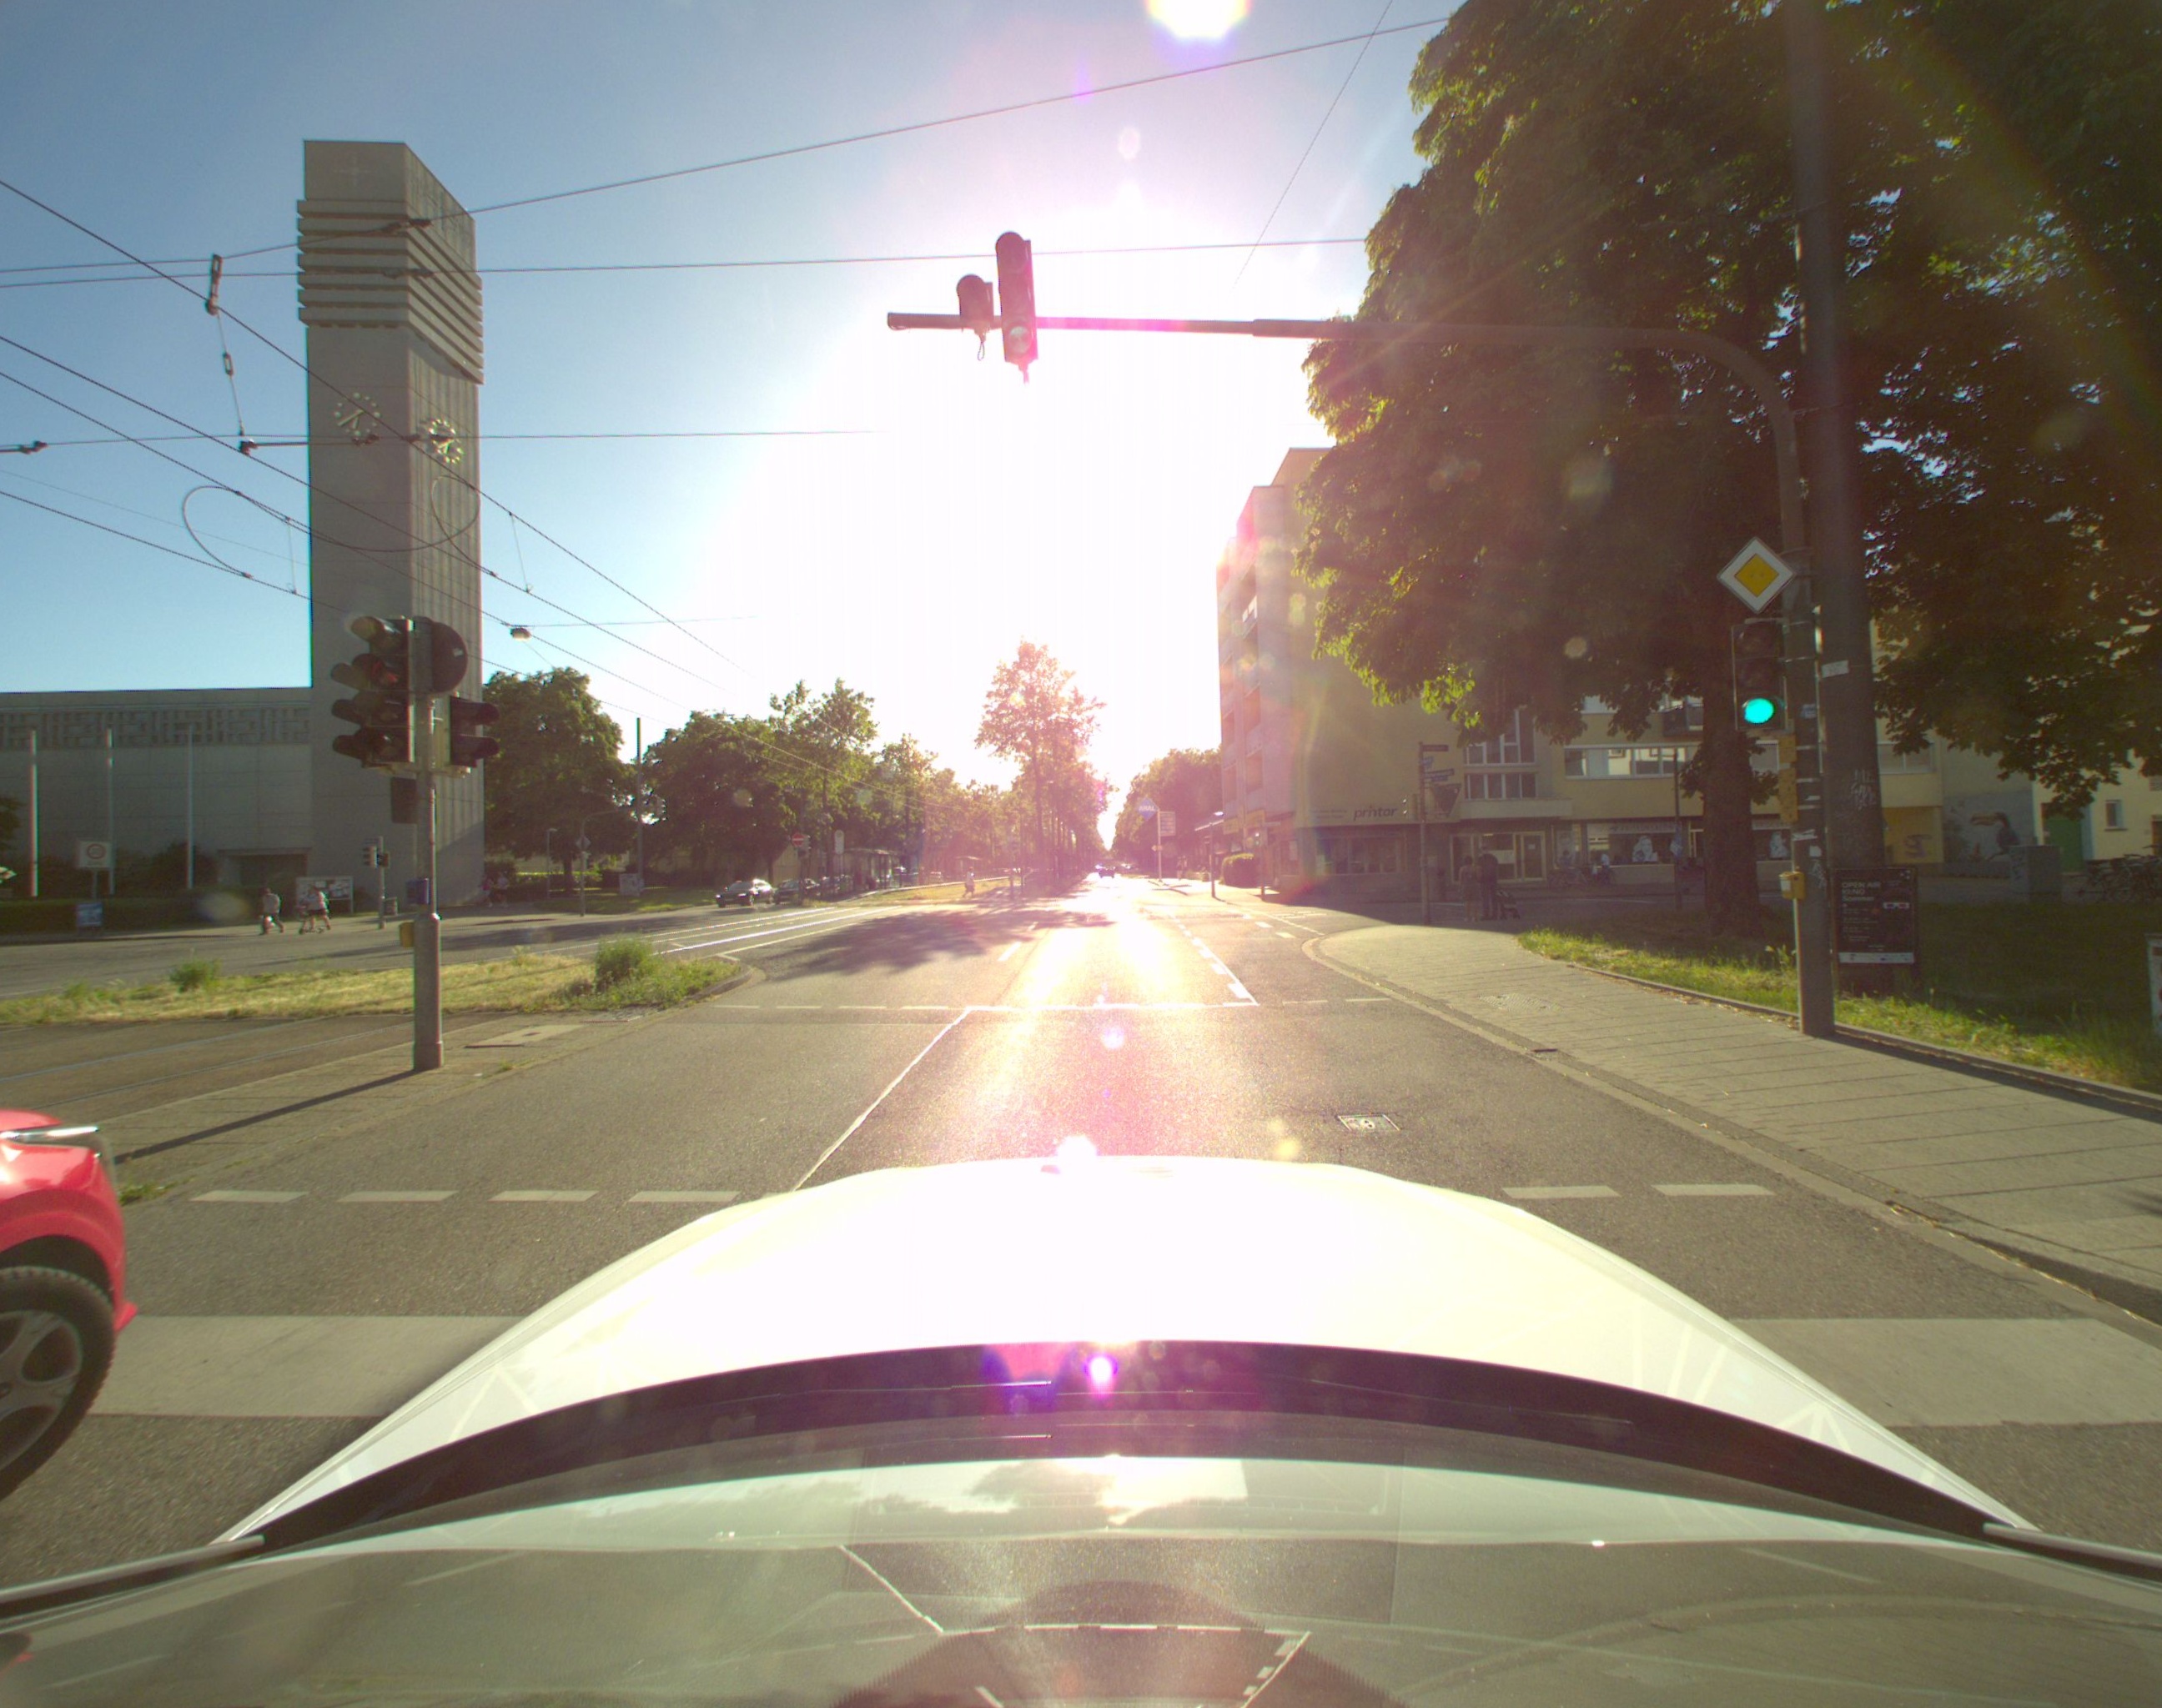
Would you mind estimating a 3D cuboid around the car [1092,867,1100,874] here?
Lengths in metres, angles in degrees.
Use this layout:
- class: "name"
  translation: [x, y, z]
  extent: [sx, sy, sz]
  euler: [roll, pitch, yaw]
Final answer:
- class: "car"
  translation: [3.506, 3.809, 192.246]
  extent: [1.887, 1.611, 4.500]
  euler: [1, -1, 1]

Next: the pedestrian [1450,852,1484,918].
- class: "pedestrian"
  translation: [9.012, 0.719, 19.018]
  extent: [0.642, 1.522, 0.498]
  euler: [0, -1, 14]

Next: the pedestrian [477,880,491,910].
- class: "pedestrian"
  translation: [-31.653, 2.160, 43.173]
  extent: [0.434, 1.560, 0.305]
  euler: [1, -1, -3]

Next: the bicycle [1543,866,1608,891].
- class: "bicycle"
  translation: [20.954, 1.048, 34.559]
  extent: [2.234, 0.987, 0.792]
  euler: [-1, 4, 16]

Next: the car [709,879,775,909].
- class: "car"
  translation: [-19.425, 2.283, 46.902]
  extent: [1.800, 1.533, 4.362]
  euler: [-2, -1, 2]

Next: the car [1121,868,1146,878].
- class: "car"
  translation: [9.219, 3.358, 142.516]
  extent: [4.008, 1.750, 1.739]
  euler: [1, -1, -27]

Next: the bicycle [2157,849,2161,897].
- class: "bicycle"
  translation: [23.732, 0.398, 16.750]
  extent: [0.595, 1.035, 2.007]
  euler: [1, -1, 1]

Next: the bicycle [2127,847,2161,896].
- class: "bicycle"
  translation: [23.095, 0.370, 16.756]
  extent: [0.595, 1.035, 2.007]
  euler: [1, -1, 1]

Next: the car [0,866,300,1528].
- class: "car"
  translation: [-3.035, 0.770, 0.882]
  extent: [1.699, 1.508, 3.676]
  euler: [1, -1, -18]

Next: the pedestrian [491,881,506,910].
- class: "pedestrian"
  translation: [-31.025, 2.217, 43.368]
  extent: [0.434, 1.507, 0.488]
  euler: [1, -1, -2]

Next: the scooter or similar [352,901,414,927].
- class: "scooter or similar"
  translation: [-26.963, 2.324, 31.475]
  extent: [1.737, 0.899, 0.561]
  euler: [-1, -1, -14]

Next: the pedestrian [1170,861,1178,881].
- class: "pedestrian"
  translation: [8.128, 1.520, 71.283]
  extent: [0.572, 1.747, 0.506]
  euler: [1, -1, 1]

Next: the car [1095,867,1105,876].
- class: "car"
  translation: [3.452, 3.162, 147.749]
  extent: [1.628, 1.549, 4.003]
  euler: [1, -1, 3]

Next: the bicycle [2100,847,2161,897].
- class: "bicycle"
  translation: [22.464, 0.378, 16.725]
  extent: [0.595, 1.035, 1.991]
  euler: [1, -1, 1]

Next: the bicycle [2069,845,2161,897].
- class: "bicycle"
  translation: [21.812, 0.352, 16.744]
  extent: [0.595, 1.035, 2.007]
  euler: [1, -1, 1]

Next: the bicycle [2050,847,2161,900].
- class: "bicycle"
  translation: [21.163, 0.391, 16.642]
  extent: [0.595, 1.035, 1.796]
  euler: [1, -1, 1]

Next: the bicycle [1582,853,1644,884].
- class: "bicycle"
  translation: [24.335, 0.669, 37.251]
  extent: [2.462, 1.399, 0.608]
  euler: [1, -1, 0]

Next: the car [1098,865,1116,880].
- class: "car"
  translation: [3.381, 2.393, 104.204]
  extent: [1.995, 1.860, 4.006]
  euler: [1, -1, 5]

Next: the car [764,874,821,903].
- class: "car"
  translation: [-16.994, 2.000, 48.216]
  extent: [1.681, 1.533, 4.362]
  euler: [-2, -1, 2]

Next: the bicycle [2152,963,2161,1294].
- class: "bicycle"
  translation: [3.227, 0.798, 1.472]
  extent: [0.643, 0.973, 1.812]
  euler: [0, -1, 18]

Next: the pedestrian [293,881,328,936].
- class: "pedestrian"
  translation: [-27.663, 1.953, 29.247]
  extent: [0.415, 1.915, 0.748]
  euler: [1, -1, 11]

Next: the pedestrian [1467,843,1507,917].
- class: "pedestrian"
  translation: [9.471, 0.603, 19.016]
  extent: [0.724, 1.682, 0.534]
  euler: [0, -1, 14]

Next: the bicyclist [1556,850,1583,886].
- class: "bicyclist"
  translation: [20.757, 0.595, 34.596]
  extent: [0.762, 1.471, 0.902]
  euler: [-3, 0, 18]

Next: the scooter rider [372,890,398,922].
- class: "scooter rider"
  translation: [-26.882, 2.014, 31.474]
  extent: [0.526, 1.218, 0.585]
  euler: [1, -1, -14]

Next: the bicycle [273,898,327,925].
- class: "bicycle"
  translation: [-33.637, 2.459, 35.113]
  extent: [0.488, 1.046, 1.687]
  euler: [1, -1, 9]

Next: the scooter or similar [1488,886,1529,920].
- class: "scooter or similar"
  translation: [9.859, 1.124, 18.791]
  extent: [0.595, 0.737, 0.681]
  euler: [1, -1, 1]

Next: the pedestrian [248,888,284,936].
- class: "pedestrian"
  translation: [-29.549, 2.094, 29.545]
  extent: [0.440, 1.666, 0.748]
  euler: [1, -1, 11]

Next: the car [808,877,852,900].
- class: "car"
  translation: [-16.688, 2.246, 54.252]
  extent: [1.560, 1.402, 3.916]
  euler: [1, -1, 2]

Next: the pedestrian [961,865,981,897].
- class: "pedestrian"
  translation: [-5.520, 1.358, 40.796]
  extent: [0.887, 1.606, 0.614]
  euler: [1, -1, 1]
